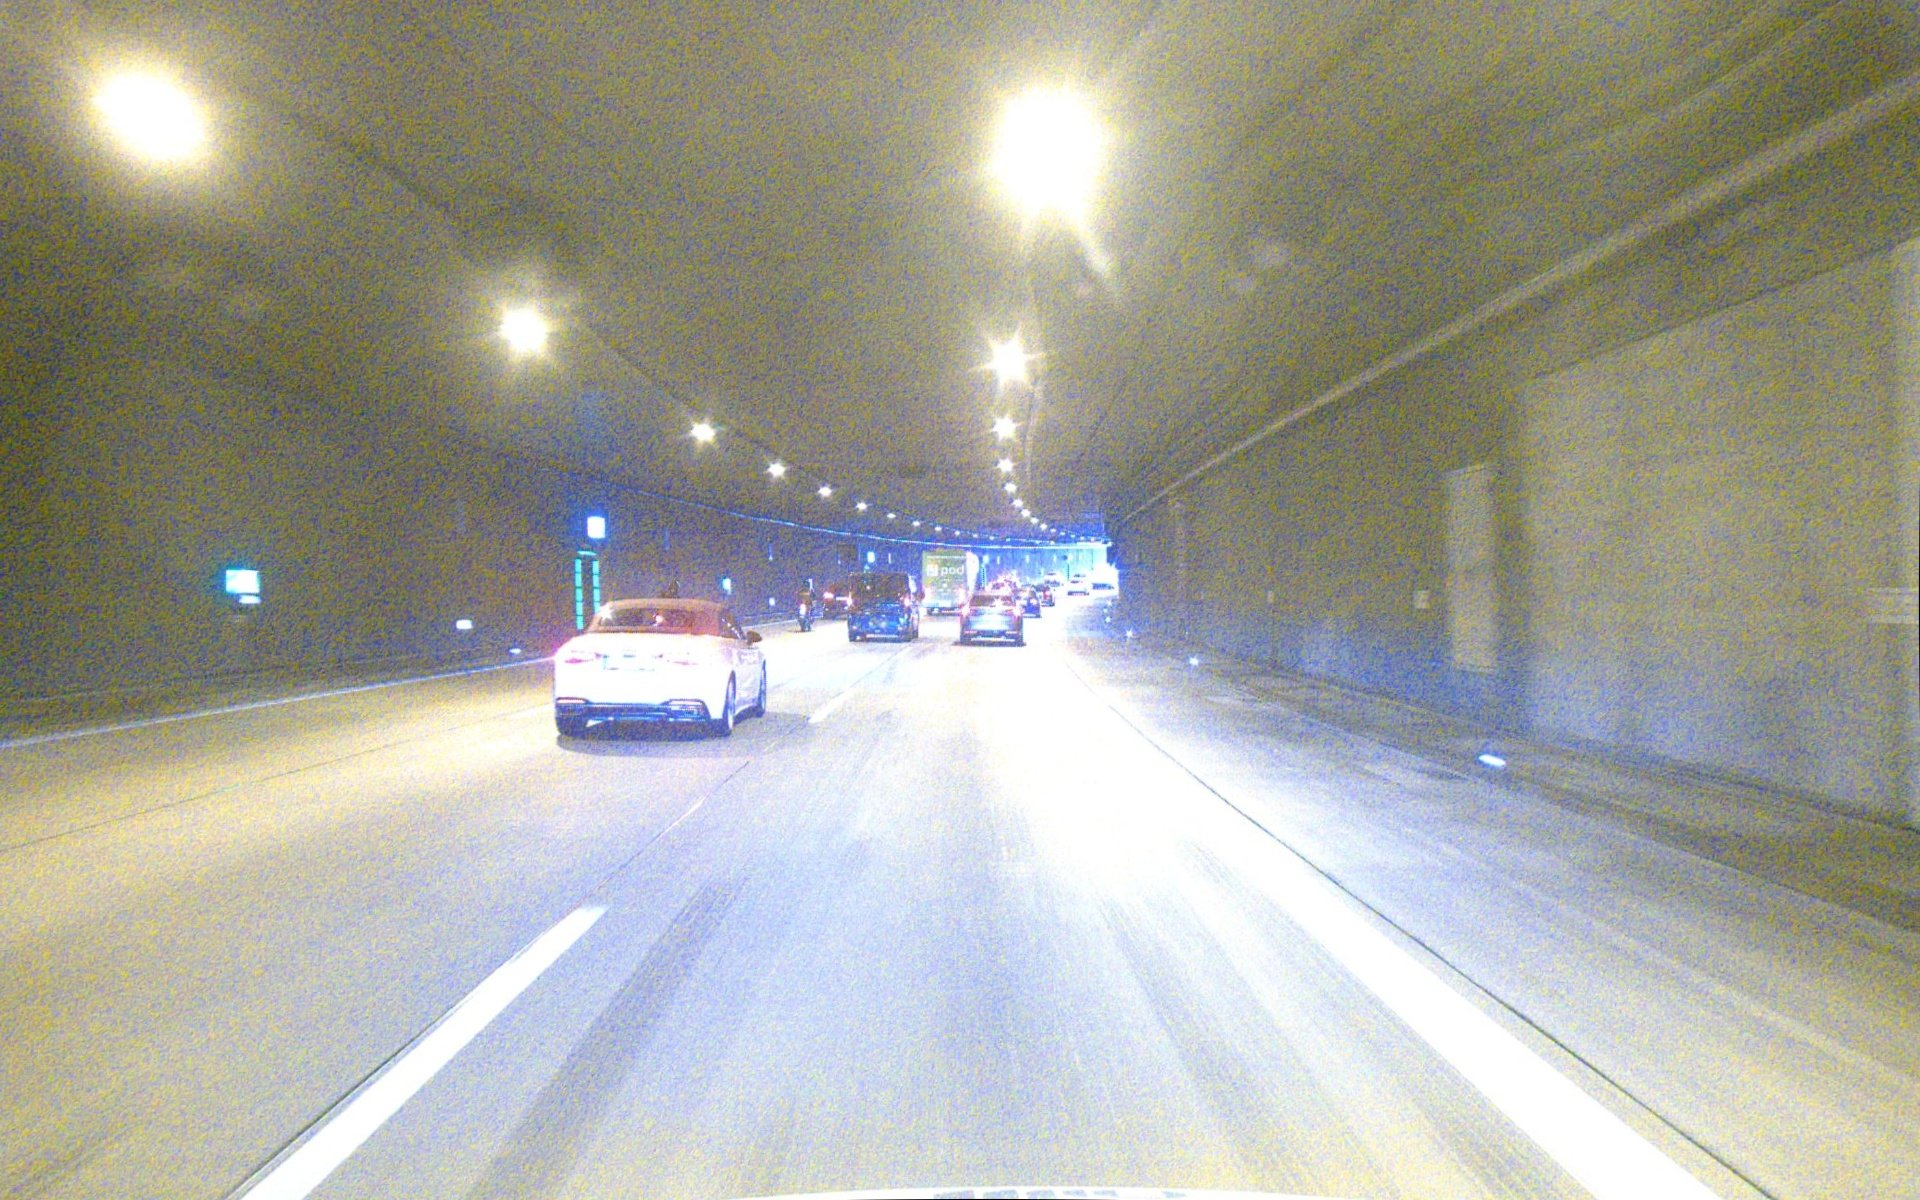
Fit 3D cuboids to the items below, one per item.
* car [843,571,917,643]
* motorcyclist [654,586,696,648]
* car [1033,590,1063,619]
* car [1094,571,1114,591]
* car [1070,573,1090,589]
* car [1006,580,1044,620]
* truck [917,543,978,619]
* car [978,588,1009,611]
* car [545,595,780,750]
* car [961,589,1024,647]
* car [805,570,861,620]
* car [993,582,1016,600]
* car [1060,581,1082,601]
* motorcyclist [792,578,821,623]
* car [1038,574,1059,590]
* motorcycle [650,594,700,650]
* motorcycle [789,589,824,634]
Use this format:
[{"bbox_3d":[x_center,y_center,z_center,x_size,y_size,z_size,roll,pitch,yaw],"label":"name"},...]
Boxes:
[{"bbox_3d":[-2.297,0.174,48.374,1.870,1.978,3.872,0,1,2],"label":"car"},{"bbox_3d":[-6.883,0.416,40.041,0.761,1.478,1.069,1,-1,3],"label":"motorcyclist"},{"bbox_3d":[5.776,0.310,108.216,1.909,1.803,4.001,1,-1,3],"label":"car"},{"bbox_3d":[15.239,-1.987,174.652,1.951,2.049,4.003,1,-1,8],"label":"car"},{"bbox_3d":[13.306,-2.081,182.785,1.951,1.660,4.003,1,-1,8],"label":"car"},{"bbox_3d":[3.167,-0.001,81.680,1.818,1.887,4.001,1,0,1],"label":"car"},{"bbox_3d":[-0.582,-0.959,85.429,2.976,3.737,7.393,1,0,1],"label":"truck"},{"bbox_3d":[2.497,-0.056,123.200,1.951,1.660,4.003,1,0,6],"label":"car"},{"bbox_3d":[-3.151,0.694,18.527,1.667,1.443,5.060,0,1,0],"label":"car"},{"bbox_3d":[0.968,0.478,46.978,1.706,1.489,3.873,0,1,2],"label":"car"},{"bbox_3d":[-5.413,-0.200,70.897,1.952,2.049,4.001,1,0,2],"label":"car"},{"bbox_3d":[4.192,-0.805,155.885,1.890,1.671,4.002,1,0,4],"label":"car"},{"bbox_3d":[9.846,-0.779,147.160,1.890,1.671,4.001,1,-1,3],"label":"car"},{"bbox_3d":[-5.191,0.031,55.978,0.790,1.474,1.865,1,-2,0],"label":"motorcyclist"},{"bbox_3d":[10.012,-2.066,187.192,1.889,1.671,4.003,0,-1,11],"label":"car"},{"bbox_3d":[-6.892,0.531,40.048,0.668,1.320,2.399,0,-1,3],"label":"motorcycle"},{"bbox_3d":[-5.172,0.401,55.944,0.907,1.459,2.963,1,-1,-1],"label":"motorcycle"}]
